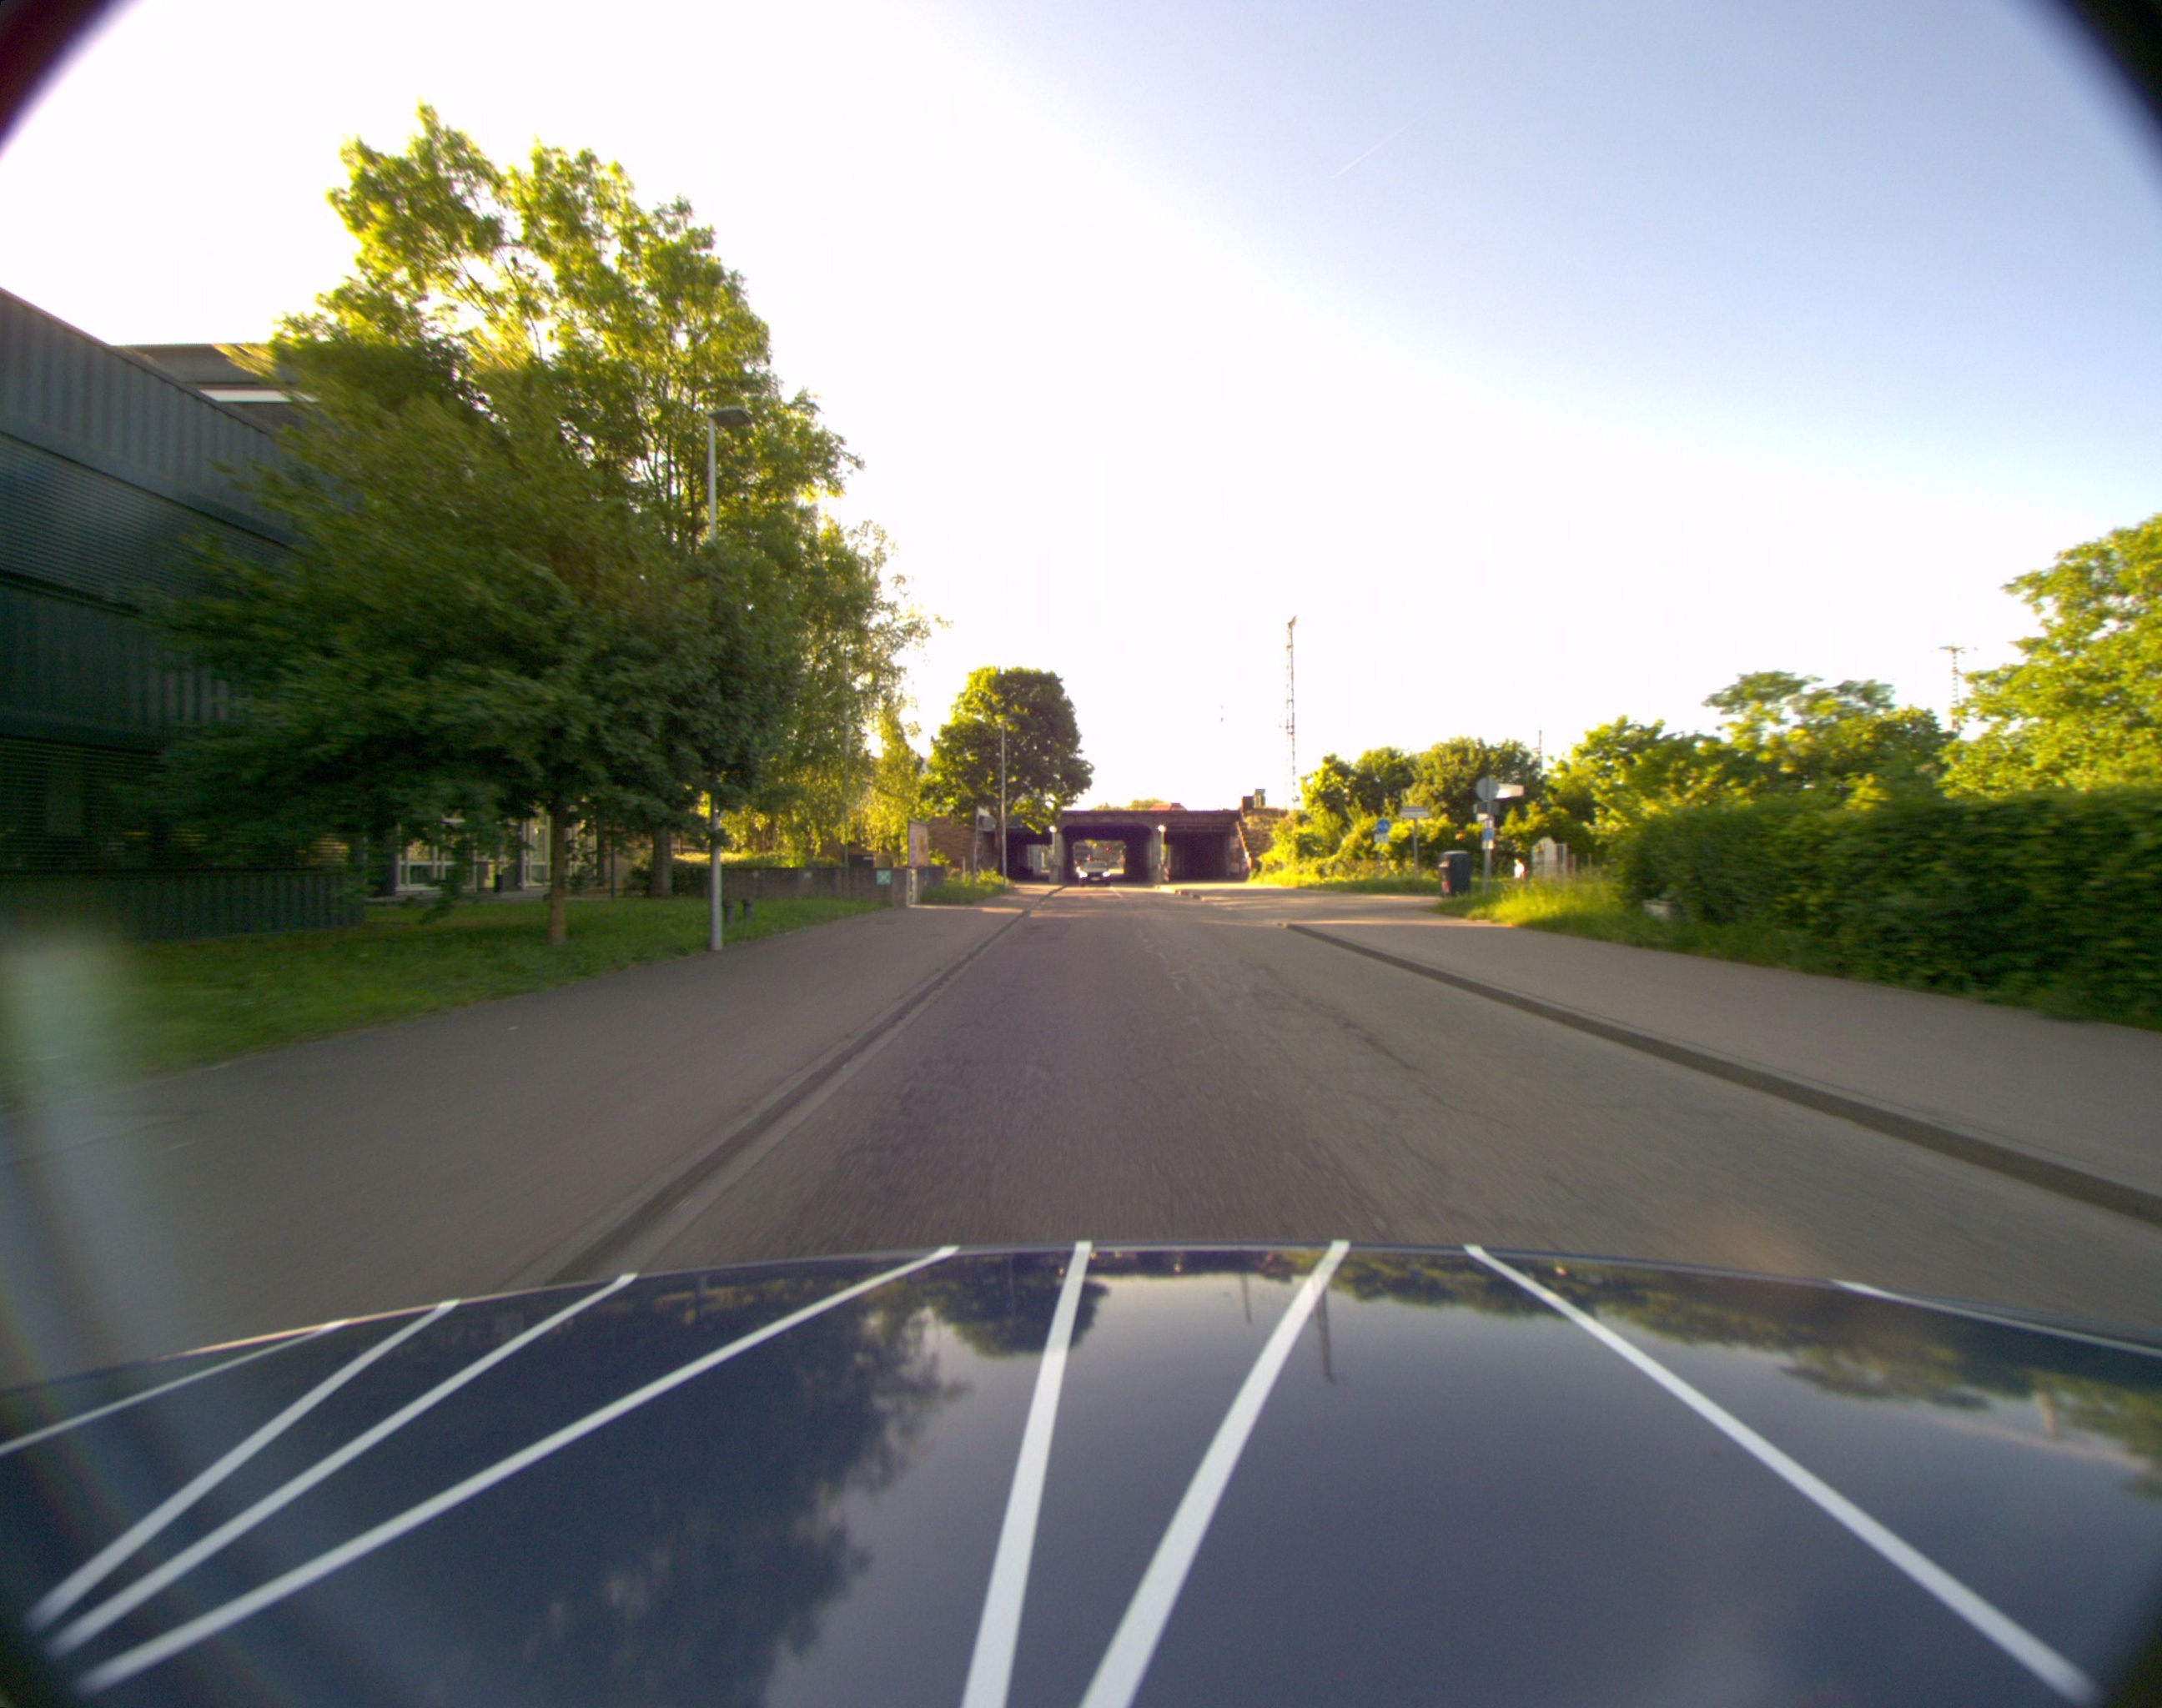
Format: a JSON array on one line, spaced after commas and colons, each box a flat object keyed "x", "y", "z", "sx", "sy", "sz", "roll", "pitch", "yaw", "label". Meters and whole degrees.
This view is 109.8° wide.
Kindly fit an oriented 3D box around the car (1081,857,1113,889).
[{"x": 1.068, "y": 1.200, "z": 48.736, "sx": 1.940, "sy": 1.922, "sz": 4.525, "roll": 1, "pitch": 0, "yaw": 2, "label": "car"}]

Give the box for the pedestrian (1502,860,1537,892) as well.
[{"x": 19.444, "y": 0.967, "z": 33.689, "sx": 1.021, "sy": 1.396, "sz": 0.813, "roll": 1, "pitch": 2, "yaw": -8, "label": "pedestrian"}]
